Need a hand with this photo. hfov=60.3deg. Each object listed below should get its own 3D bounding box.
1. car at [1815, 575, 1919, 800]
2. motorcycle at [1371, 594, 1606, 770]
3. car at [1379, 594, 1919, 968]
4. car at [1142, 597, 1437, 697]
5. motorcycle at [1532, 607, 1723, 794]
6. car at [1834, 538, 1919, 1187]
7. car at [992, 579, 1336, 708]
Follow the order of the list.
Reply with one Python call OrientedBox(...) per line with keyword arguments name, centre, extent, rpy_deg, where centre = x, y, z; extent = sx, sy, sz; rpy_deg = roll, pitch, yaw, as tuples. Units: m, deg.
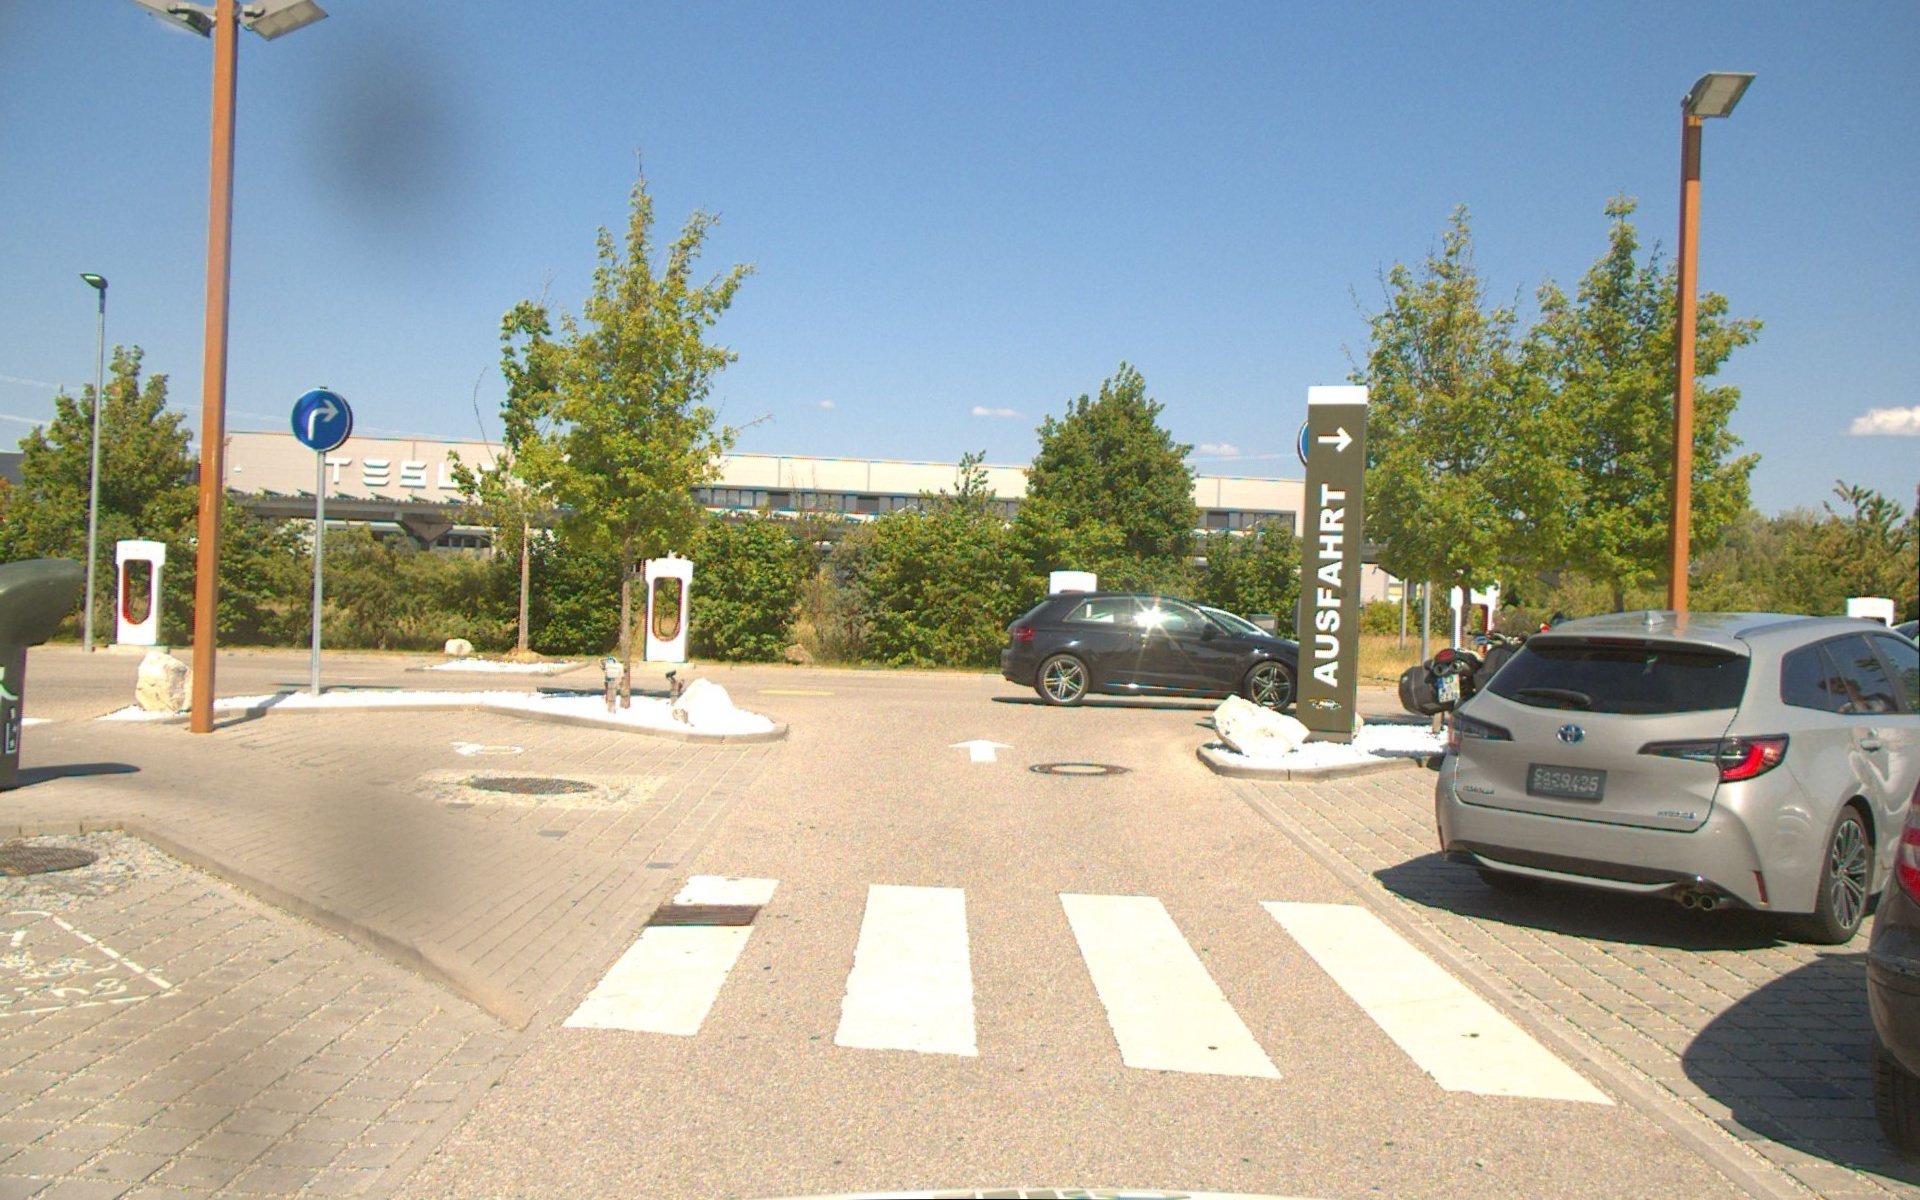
OrientedBox(name="car", centre=(8.248, 0.623, 12.981), extent=(1.861, 1.563, 4.168), rpy_deg=(2, 1, 40))
OrientedBox(name="motorcycle", centre=(4.429, 0.618, 13.757), extent=(1.052, 1.272, 2.240), rpy_deg=(3, 3, 40))
OrientedBox(name="car", centre=(4.318, 0.731, 8.919), extent=(4.625, 1.472, 1.807), rpy_deg=(0, 1, -44))
OrientedBox(name="car", centre=(5.143, 0.716, 26.248), extent=(4.342, 1.401, 1.823), rpy_deg=(1, 0, 2))
OrientedBox(name="motorcycle", centre=(5.121, 0.701, 12.603), extent=(0.805, 1.252, 2.132), rpy_deg=(2, 2, 37))
OrientedBox(name="car", centre=(4.271, 0.700, 5.094), extent=(1.781, 1.621, 3.973), rpy_deg=(2, 0, 43))
OrientedBox(name="car", centre=(2.510, 0.556, 21.011), extent=(4.116, 1.466, 1.697), rpy_deg=(1, -2, -2))
